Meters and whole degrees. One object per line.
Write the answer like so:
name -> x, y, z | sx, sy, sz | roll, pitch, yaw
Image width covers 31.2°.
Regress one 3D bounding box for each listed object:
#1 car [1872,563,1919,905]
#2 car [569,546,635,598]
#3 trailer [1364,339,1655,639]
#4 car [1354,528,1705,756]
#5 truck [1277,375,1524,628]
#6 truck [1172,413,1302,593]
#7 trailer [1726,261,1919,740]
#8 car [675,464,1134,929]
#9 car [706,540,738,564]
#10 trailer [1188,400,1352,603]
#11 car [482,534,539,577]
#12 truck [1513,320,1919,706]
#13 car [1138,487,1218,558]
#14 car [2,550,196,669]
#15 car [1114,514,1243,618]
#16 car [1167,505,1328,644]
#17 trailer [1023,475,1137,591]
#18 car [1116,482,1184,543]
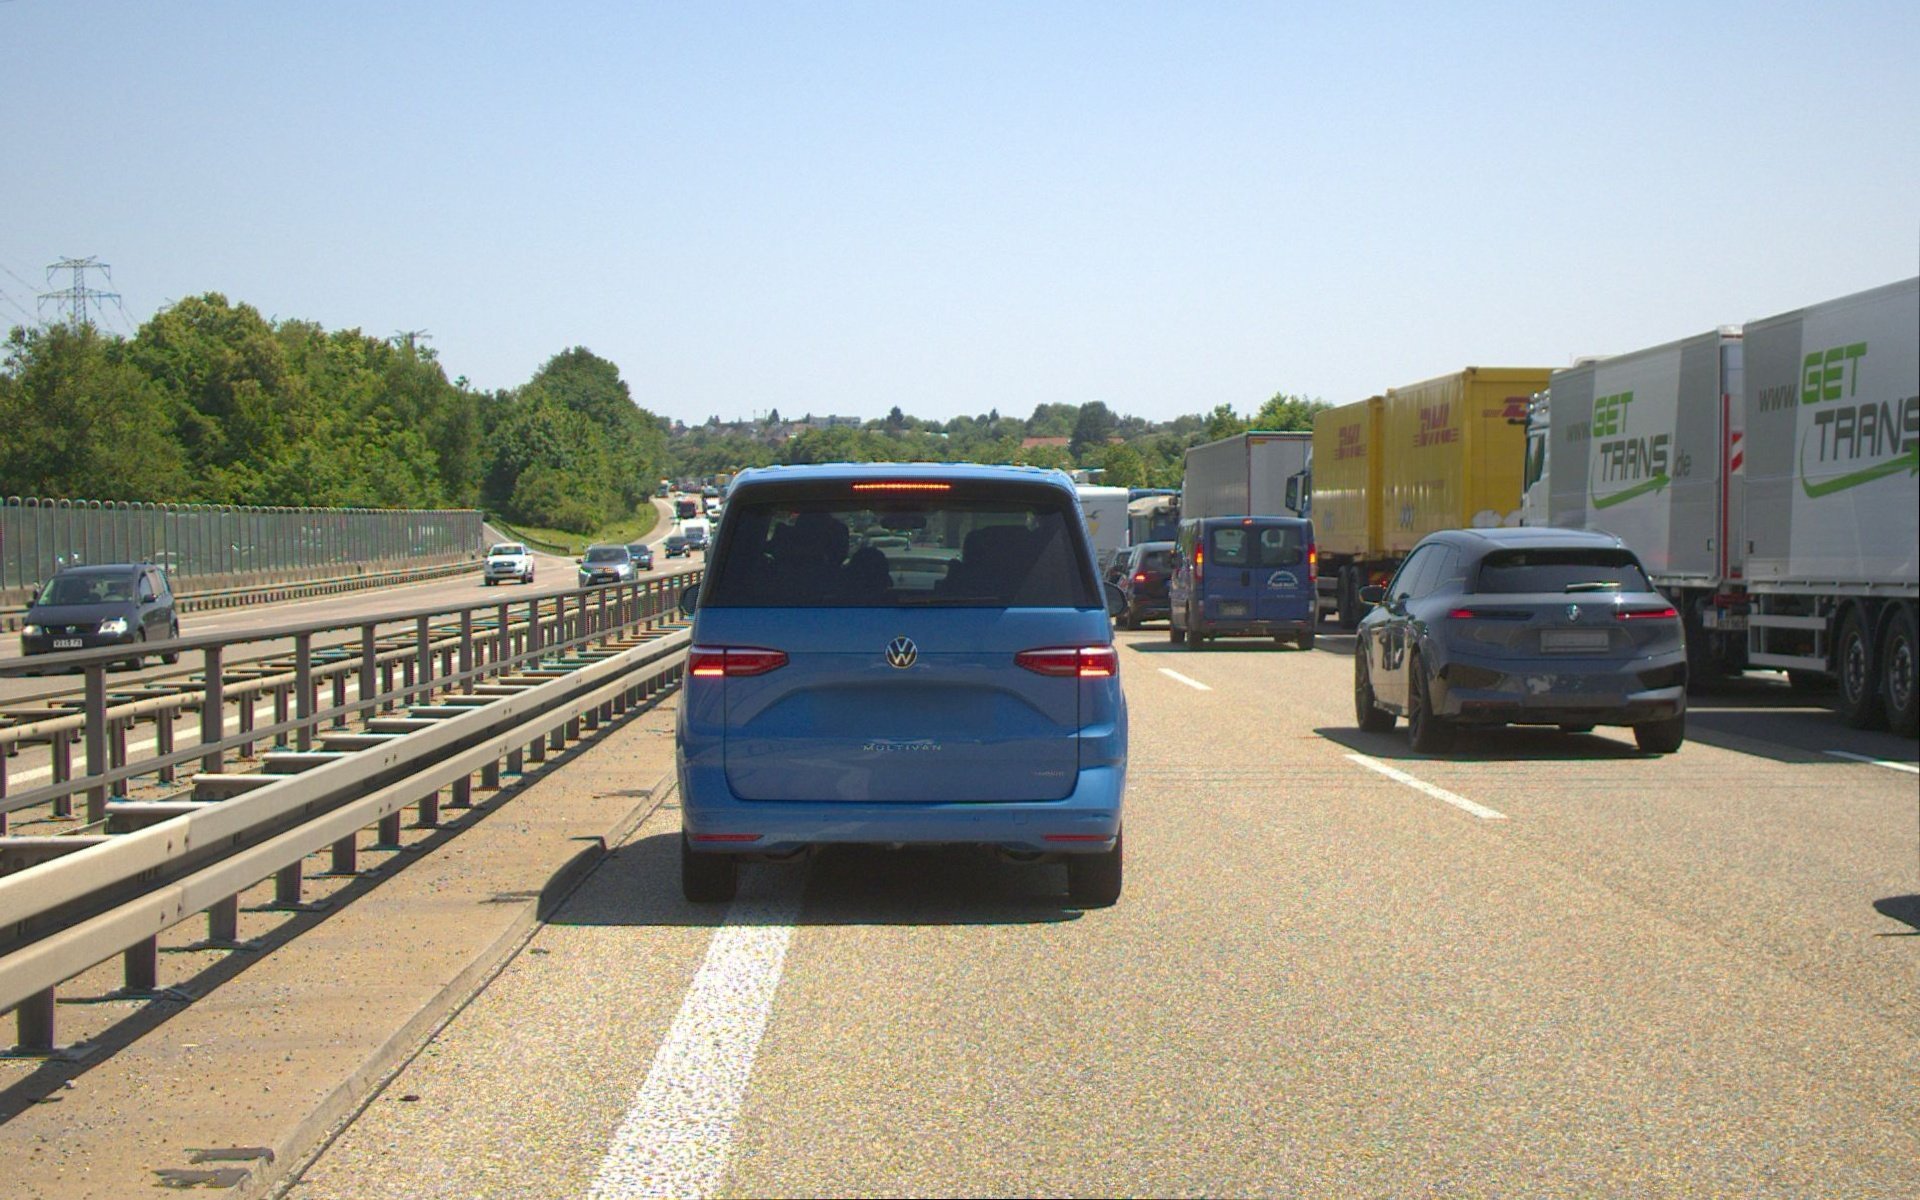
car -> 5.014, 0.598, 13.238 | 1.788, 1.450, 4.293 | 0, 1, -1
car -> -12.078, -0.965, 116.143 | 1.805, 1.621, 4.478 | -2, 1, -1
trailer -> 8.333, -1.633, 53.320 | 2.864, 4.224, 9.012 | 1, 1, -1
car -> 4.350, 0.260, 26.921 | 1.962, 1.639, 4.293 | 0, 1, -1
truck -> 7.911, -1.736, 63.304 | 2.836, 4.228, 11.011 | 1, 1, -1
truck -> 7.139, -2.463, 89.382 | 2.667, 4.469, 6.850 | 1, 1, -1
trailer -> 8.683, -0.807, 28.467 | 2.698, 3.687, 8.015 | 0, 1, -1
car -> -0.254, 0.359, 15.864 | 1.820, 1.851, 4.075 | 1, 1, -1
car -> -13.836, -2.783, 199.972 | 1.597, 1.313, 4.342 | -2, 1, -1
trailer -> 7.290, -2.296, 82.293 | 2.636, 4.501, 11.302 | 1, 1, -1
car -> -20.022, -2.005, 153.269 | 1.993, 1.878, 5.256 | -1, 1, -2
truck -> 8.454, -0.926, 37.968 | 2.656, 3.635, 11.012 | 0, 1, -1
car -> 6.344, -2.245, 100.315 | 1.993, 2.007, 4.000 | 1, 1, -1
car -> -13.229, 0.106, 53.076 | 1.993, 1.666, 4.187 | -3, 1, -2
car -> 3.899, -0.634, 61.853 | 1.993, 1.809, 4.000 | 0, 1, -1
car -> 4.254, -0.409, 51.435 | 1.962, 1.986, 4.293 | 0, 1, -1
trailer -> 3.189, -1.793, 94.043 | 2.569, 2.980, 10.663 | 1, 1, -1
car -> 6.516, -2.989, 118.139 | 1.993, 2.007, 4.461 | -1, 1, -1
